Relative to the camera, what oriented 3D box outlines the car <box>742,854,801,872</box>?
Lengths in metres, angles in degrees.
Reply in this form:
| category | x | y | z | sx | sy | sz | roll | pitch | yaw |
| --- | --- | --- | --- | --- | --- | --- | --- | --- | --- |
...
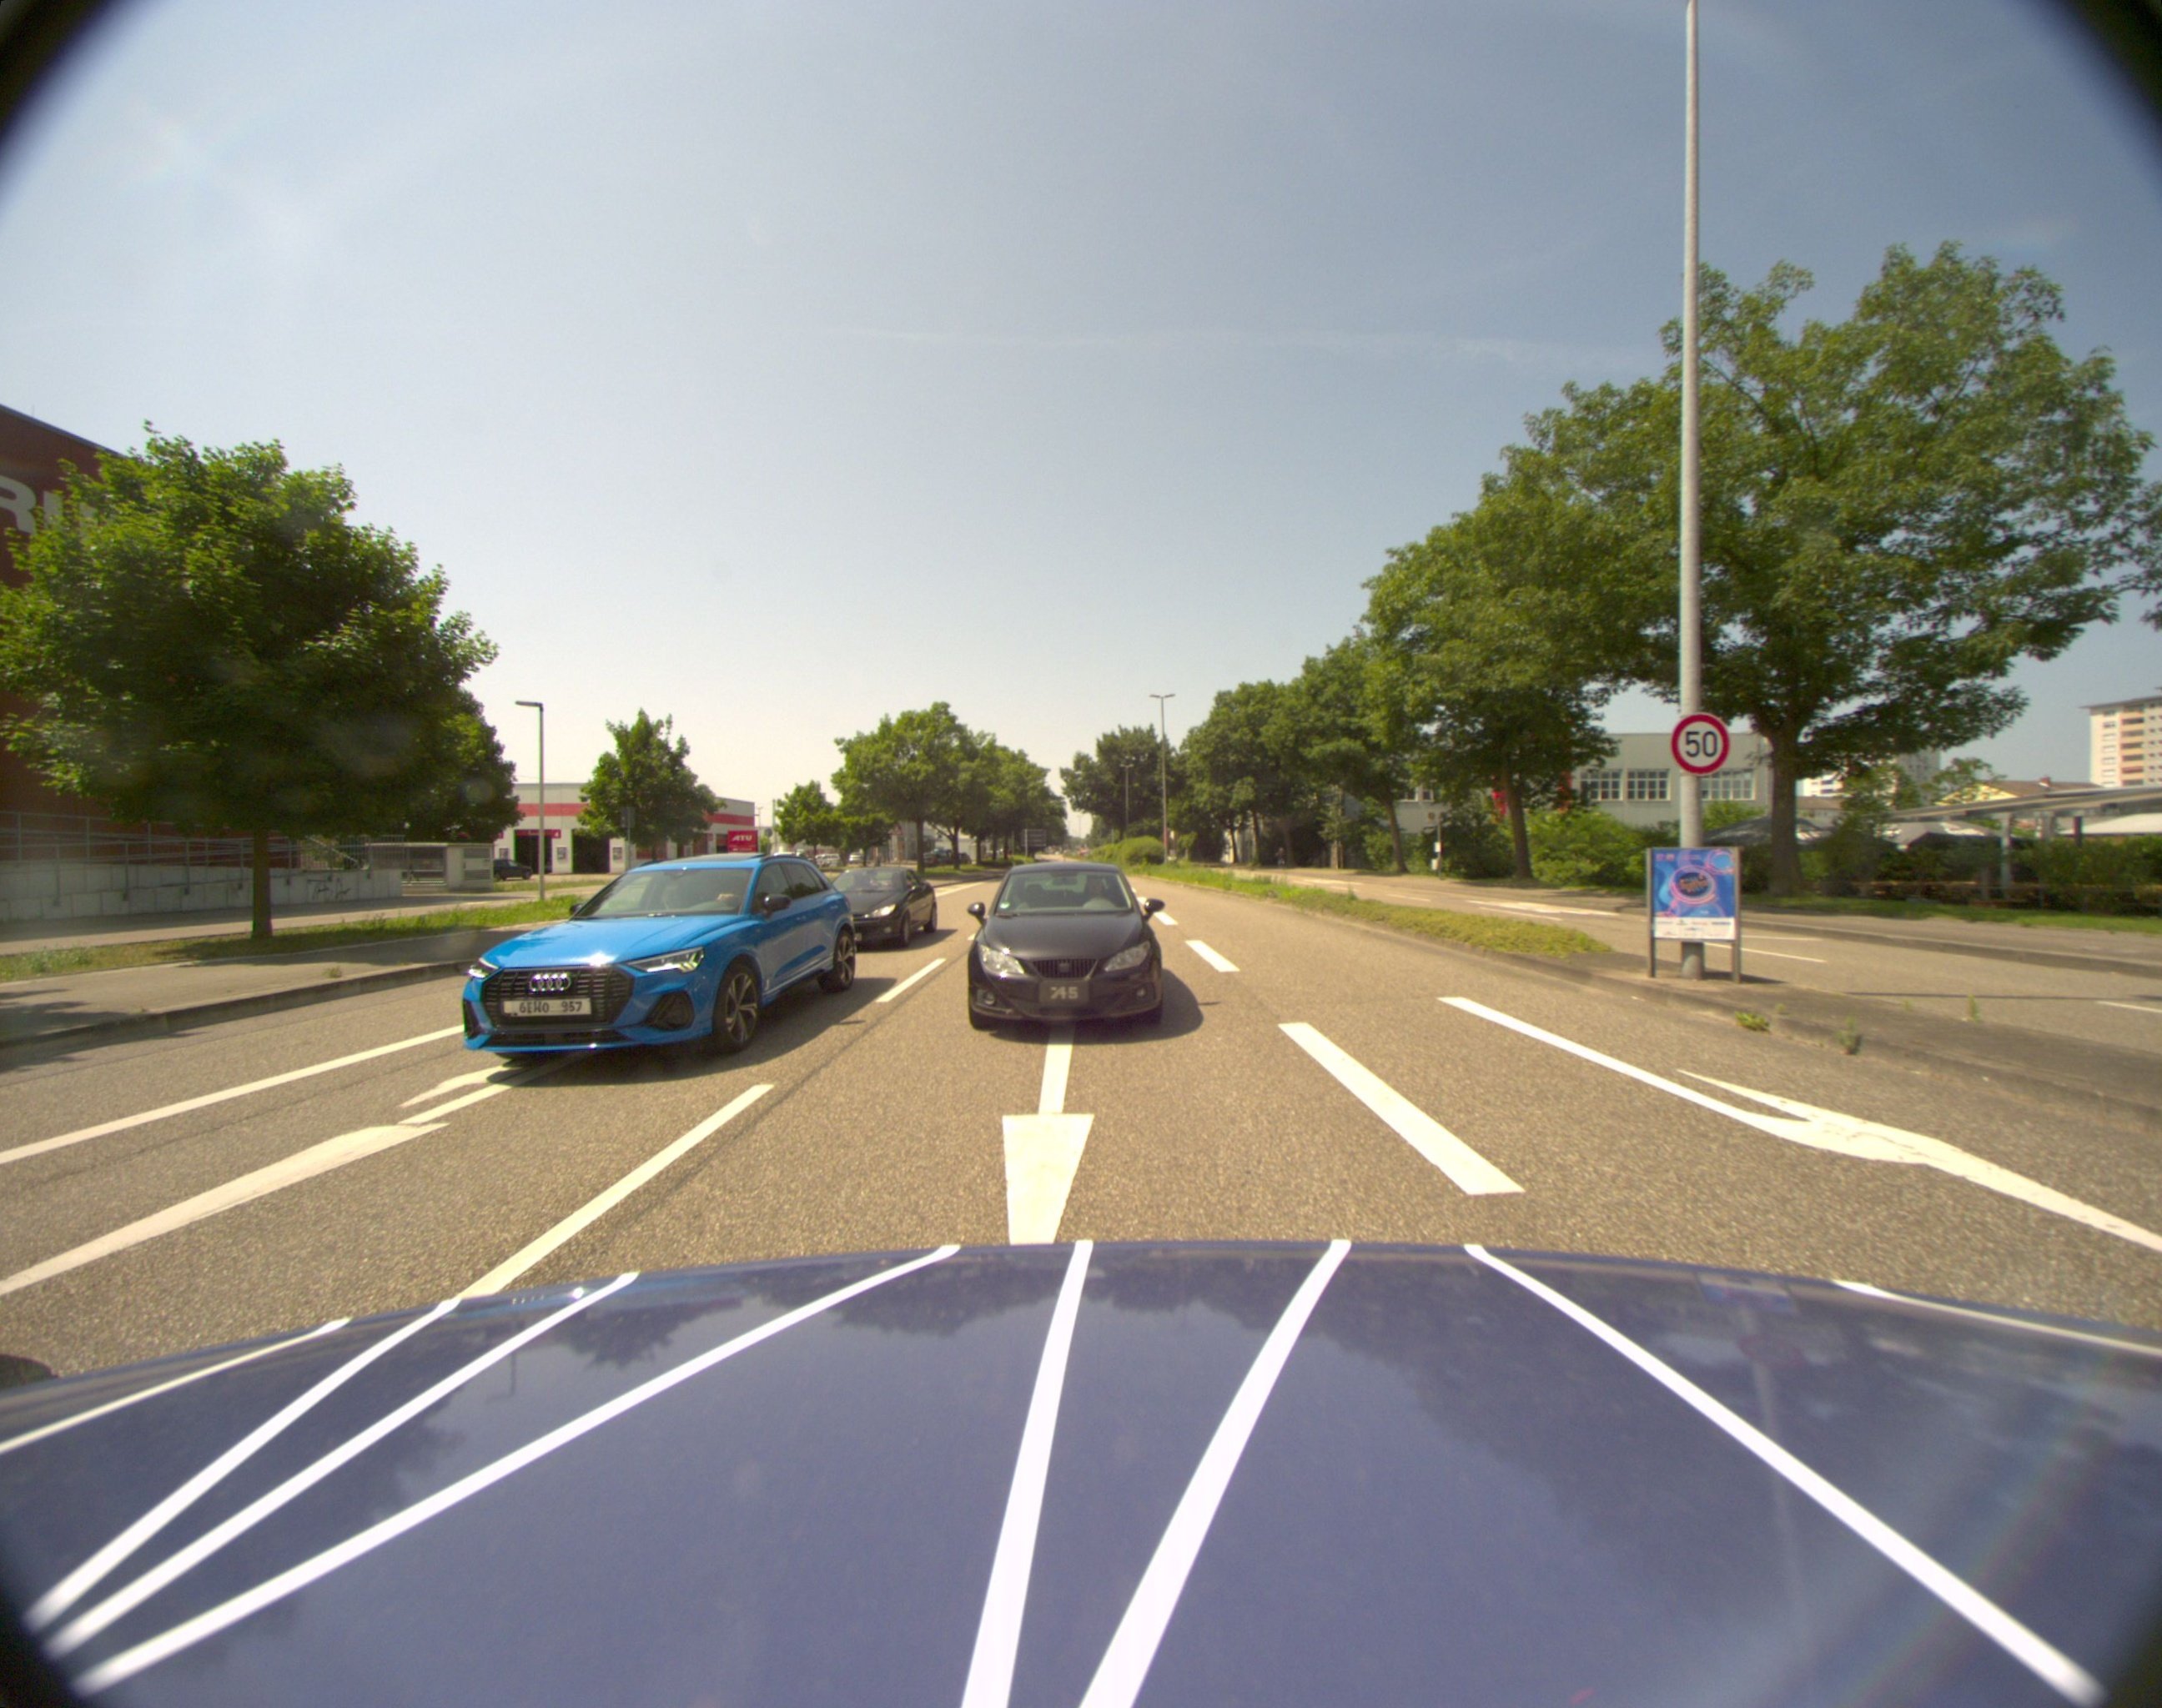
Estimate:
| category | x | y | z | sx | sy | sz | roll | pitch | yaw |
| --- | --- | --- | --- | --- | --- | --- | --- | --- | --- |
| car | -24.783 | 0.733 | 60.971 | 3.998 | 1.394 | 1.747 | 0 | 1 | -2 |

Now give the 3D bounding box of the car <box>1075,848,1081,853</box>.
| category | x | y | z | sx | sy | sz | roll | pitch | yaw |
| --- | --- | --- | --- | --- | --- | --- | --- | --- | --- |
| car | -0.931 | -1.160 | 246.891 | 1.998 | 1.692 | 4.000 | 0 | 0 | 0 |

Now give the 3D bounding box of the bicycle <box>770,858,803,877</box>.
| category | x | y | z | sx | sy | sz | roll | pitch | yaw |
| --- | --- | --- | --- | --- | --- | --- | --- | --- | --- |
| bicycle | -17.910 | 0.808 | 46.216 | 1.784 | 1.117 | 0.514 | 0 | 1 | -6 |

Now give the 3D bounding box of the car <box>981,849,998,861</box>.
| category | x | y | z | sx | sy | sz | roll | pitch | yaw |
| --- | --- | --- | --- | --- | --- | --- | --- | --- | --- |
| car | -12.137 | 0.110 | 101.013 | 1.719 | 1.458 | 4.000 | 0 | 0 | 1 |

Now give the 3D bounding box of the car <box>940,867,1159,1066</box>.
| category | x | y | z | sx | sy | sz | roll | pitch | yaw |
| --- | --- | --- | --- | --- | --- | --- | --- | --- | --- |
| car | -0.231 | 0.881 | 7.712 | 1.642 | 1.396 | 4.000 | 0 | 0 | 0 |

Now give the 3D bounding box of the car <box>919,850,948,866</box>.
| category | x | y | z | sx | sy | sz | roll | pitch | yaw |
| --- | --- | --- | --- | --- | --- | --- | --- | --- | --- |
| car | -12.735 | 0.305 | 65.880 | 1.642 | 1.363 | 4.000 | 0 | 0 | 1 |

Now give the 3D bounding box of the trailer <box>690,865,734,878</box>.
| category | x | y | z | sx | sy | sz | roll | pitch | yaw |
| --- | --- | --- | --- | --- | --- | --- | --- | --- | --- |
| trailer | -23.474 | 1.110 | 48.396 | 2.137 | 0.757 | 1.394 | 0 | 1 | 2 |

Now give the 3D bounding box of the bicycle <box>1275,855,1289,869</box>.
| category | x | y | z | sx | sy | sz | roll | pitch | yaw |
| --- | --- | --- | --- | --- | --- | --- | --- | --- | --- |
| bicycle | 16.179 | 0.643 | 61.146 | 0.656 | 1.045 | 1.884 | -1 | 1 | 1 |

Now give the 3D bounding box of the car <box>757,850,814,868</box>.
| category | x | y | z | sx | sy | sz | roll | pitch | yaw |
| --- | --- | --- | --- | --- | --- | --- | --- | --- | --- |
| car | -24.529 | 0.410 | 63.195 | 3.998 | 1.394 | 1.747 | 0 | 1 | -2 |

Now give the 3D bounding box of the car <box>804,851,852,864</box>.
| category | x | y | z | sx | sy | sz | roll | pitch | yaw |
| --- | --- | --- | --- | --- | --- | --- | --- | --- | --- |
| car | -24.226 | 0.326 | 72.908 | 3.998 | 1.293 | 1.689 | 0 | 1 | -2 |

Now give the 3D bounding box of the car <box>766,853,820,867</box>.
| category | x | y | z | sx | sy | sz | roll | pitch | yaw |
| --- | --- | --- | --- | --- | --- | --- | --- | --- | --- |
| car | -24.826 | 0.509 | 65.568 | 3.998 | 1.201 | 1.747 | 0 | 1 | -2 |

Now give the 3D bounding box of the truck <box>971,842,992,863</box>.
| category | x | y | z | sx | sy | sz | roll | pitch | yaw |
| --- | --- | --- | --- | --- | --- | --- | --- | --- | --- |
| truck | -12.435 | -0.194 | 95.179 | 1.904 | 2.552 | 4.000 | 0 | 0 | 2 |

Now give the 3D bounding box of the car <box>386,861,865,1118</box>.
| category | x | y | z | sx | sy | sz | roll | pitch | yaw |
| --- | --- | --- | --- | --- | --- | --- | --- | --- | --- |
| car | -3.625 | 0.920 | 7.216 | 1.842 | 1.586 | 4.399 | -1 | 1 | 0 |

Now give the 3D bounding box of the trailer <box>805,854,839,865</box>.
| category | x | y | z | sx | sy | sz | roll | pitch | yaw |
| --- | --- | --- | --- | --- | --- | --- | --- | --- | --- |
| trailer | -23.954 | 0.498 | 70.260 | 2.642 | 1.046 | 1.578 | 0 | 1 | -2 |

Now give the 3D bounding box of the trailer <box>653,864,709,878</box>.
| category | x | y | z | sx | sy | sz | roll | pitch | yaw |
| --- | --- | --- | --- | --- | --- | --- | --- | --- | --- |
| trailer | -23.369 | 0.996 | 44.440 | 2.466 | 0.757 | 1.449 | 0 | 1 | 2 |

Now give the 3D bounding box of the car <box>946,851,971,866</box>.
| category | x | y | z | sx | sy | sz | roll | pitch | yaw |
| --- | --- | --- | --- | --- | --- | --- | --- | --- | --- |
| car | -12.427 | 0.416 | 77.279 | 1.719 | 1.511 | 4.000 | 0 | 0 | 1 |

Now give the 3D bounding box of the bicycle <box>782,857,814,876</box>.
| category | x | y | z | sx | sy | sz | roll | pitch | yaw |
| --- | --- | --- | --- | --- | --- | --- | --- | --- | --- |
| bicycle | -17.717 | 0.783 | 47.600 | 1.784 | 1.117 | 0.514 | 0 | 1 | -6 |

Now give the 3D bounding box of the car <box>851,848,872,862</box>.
| category | x | y | z | sx | sy | sz | roll | pitch | yaw |
| --- | --- | --- | --- | --- | --- | --- | --- | --- | --- |
| car | -26.359 | 0.082 | 91.305 | 1.759 | 1.587 | 3.997 | 0 | 0 | -6 |

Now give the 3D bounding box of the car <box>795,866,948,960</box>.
| category | x | y | z | sx | sy | sz | roll | pitch | yaw |
| --- | --- | --- | --- | --- | --- | --- | --- | --- | --- |
| car | -3.649 | 0.960 | 13.991 | 1.642 | 1.336 | 4.000 | -2 | 0 | 0 |

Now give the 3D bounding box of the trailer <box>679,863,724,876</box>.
| category | x | y | z | sx | sy | sz | roll | pitch | yaw |
| --- | --- | --- | --- | --- | --- | --- | --- | --- | --- |
| trailer | -23.413 | 0.942 | 46.947 | 2.137 | 0.757 | 1.267 | 0 | 1 | 2 |

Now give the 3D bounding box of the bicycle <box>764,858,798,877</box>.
| category | x | y | z | sx | sy | sz | roll | pitch | yaw |
| --- | --- | --- | --- | --- | --- | --- | --- | --- | --- |
| bicycle | -18.001 | 0.830 | 45.591 | 1.784 | 1.117 | 0.514 | 0 | 1 | -6 |

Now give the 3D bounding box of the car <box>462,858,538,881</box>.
| category | x | y | z | sx | sy | sz | roll | pitch | yaw |
| --- | --- | --- | --- | --- | --- | --- | --- | --- | --- |
| car | -37.572 | 0.989 | 49.278 | 1.717 | 1.365 | 4.145 | 0 | 1 | 0 |

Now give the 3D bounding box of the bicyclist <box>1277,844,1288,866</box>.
| category | x | y | z | sx | sy | sz | roll | pitch | yaw |
| --- | --- | --- | --- | --- | --- | --- | --- | --- | --- |
| bicyclist | 16.151 | 0.102 | 60.941 | 0.651 | 1.760 | 0.927 | -1 | 1 | 1 |

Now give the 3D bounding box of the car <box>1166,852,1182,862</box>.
| category | x | y | z | sx | sy | sz | roll | pitch | yaw |
| --- | --- | --- | --- | --- | --- | --- | --- | --- | --- |
| car | 12.999 | 0.414 | 105.961 | 1.722 | 1.255 | 4.301 | 2 | 1 | 0 |

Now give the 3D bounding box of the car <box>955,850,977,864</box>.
| category | x | y | z | sx | sy | sz | roll | pitch | yaw |
| --- | --- | --- | --- | --- | --- | --- | --- | --- | --- |
| car | -12.585 | 0.341 | 83.455 | 1.719 | 1.505 | 4.000 | 0 | 0 | 1 |

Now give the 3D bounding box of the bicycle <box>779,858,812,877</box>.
| category | x | y | z | sx | sy | sz | roll | pitch | yaw |
| --- | --- | --- | --- | --- | --- | --- | --- | --- | --- |
| bicycle | -17.630 | 0.824 | 46.959 | 1.784 | 1.117 | 0.514 | 0 | 1 | -6 |

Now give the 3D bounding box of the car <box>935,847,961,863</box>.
| category | x | y | z | sx | sy | sz | roll | pitch | yaw |
| --- | --- | --- | --- | --- | --- | --- | --- | --- | --- |
| car | -12.579 | 0.106 | 72.105 | 1.719 | 1.458 | 4.000 | 0 | 0 | 1 |

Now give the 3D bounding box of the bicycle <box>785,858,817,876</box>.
| category | x | y | z | sx | sy | sz | roll | pitch | yaw |
| --- | --- | --- | --- | --- | --- | --- | --- | --- | --- |
| bicycle | -17.799 | 0.799 | 48.320 | 1.784 | 1.117 | 0.514 | 0 | 1 | -6 |

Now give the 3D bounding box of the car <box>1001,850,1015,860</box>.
| category | x | y | z | sx | sy | sz | roll | pitch | yaw |
| --- | --- | --- | --- | --- | --- | --- | --- | --- | --- |
| car | -11.614 | 0.168 | 121.606 | 1.719 | 1.458 | 4.000 | 0 | 0 | 1 |
